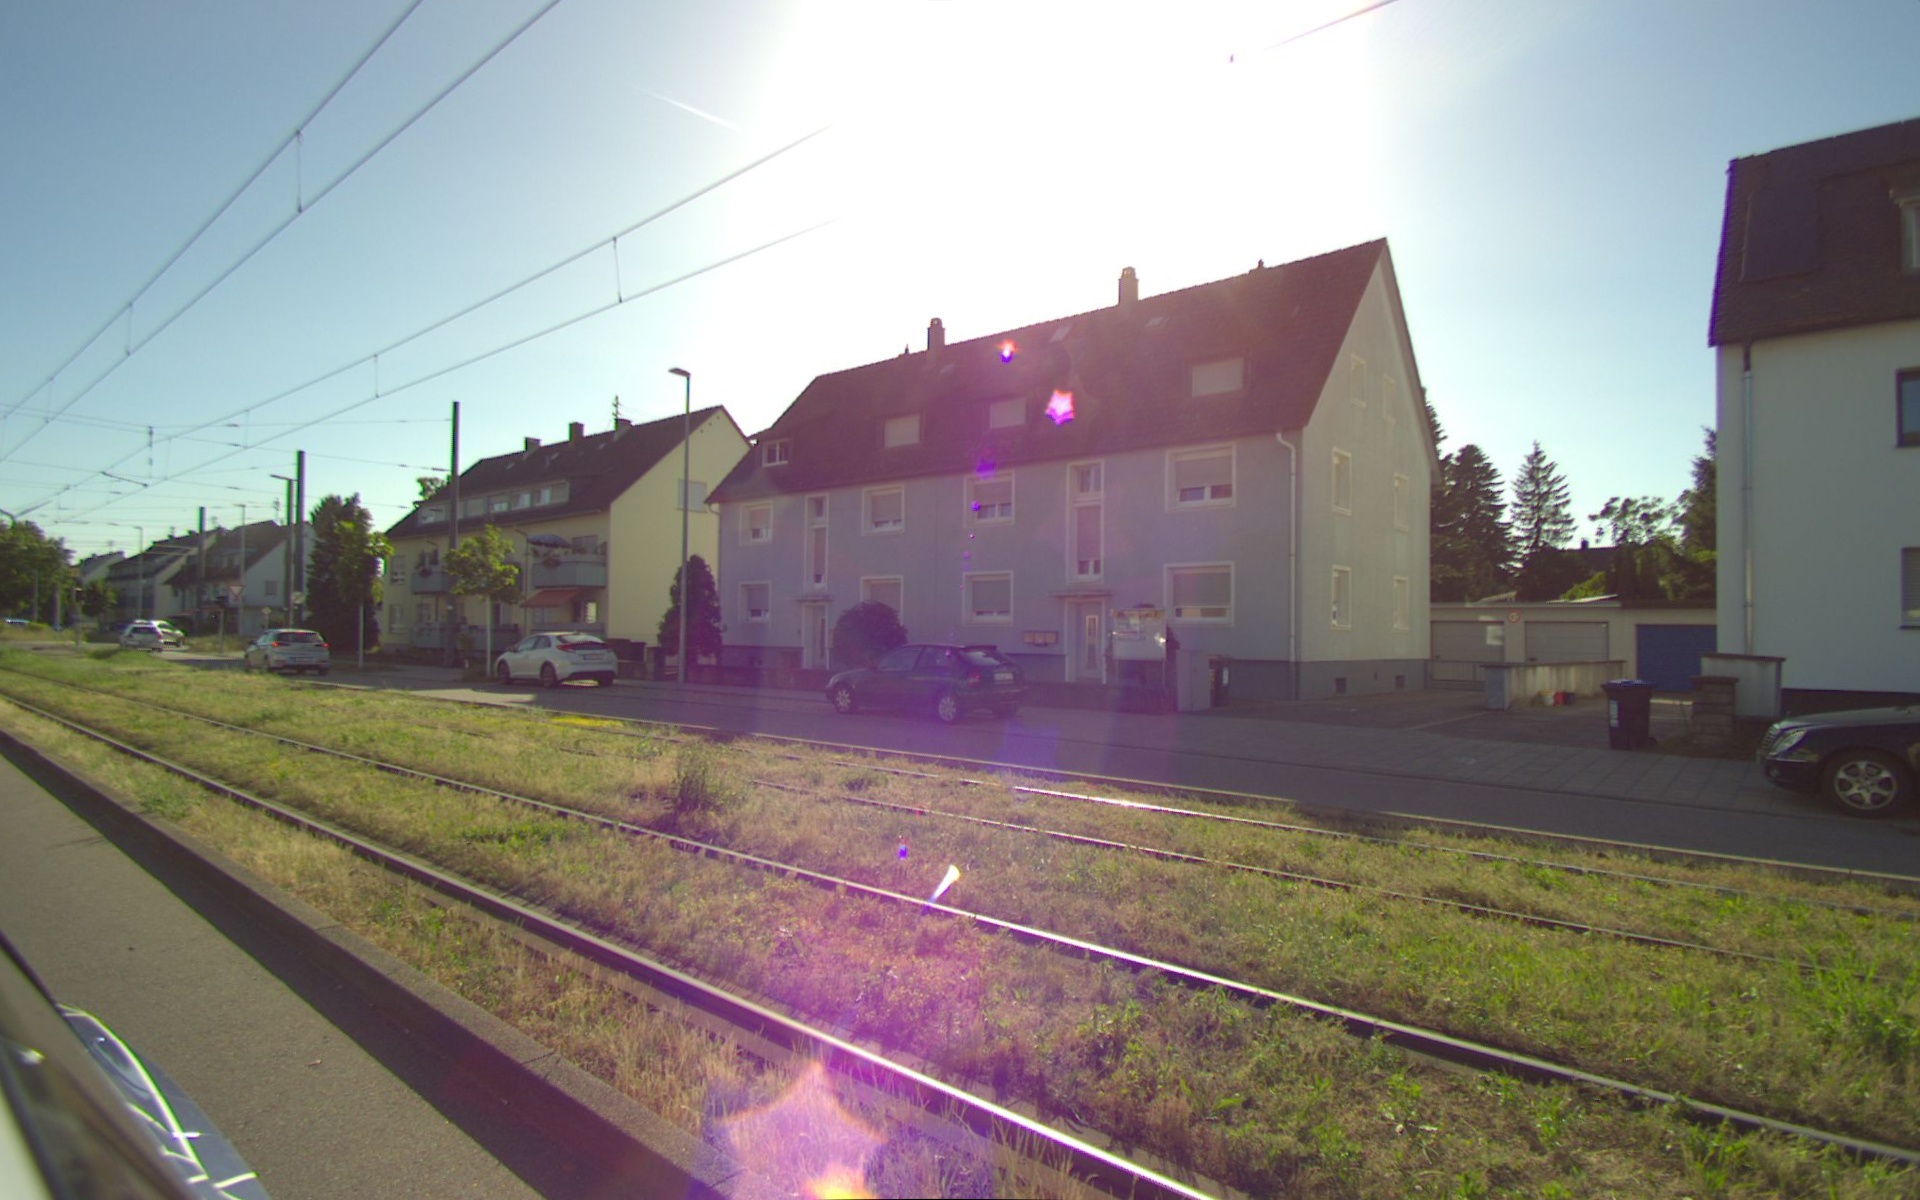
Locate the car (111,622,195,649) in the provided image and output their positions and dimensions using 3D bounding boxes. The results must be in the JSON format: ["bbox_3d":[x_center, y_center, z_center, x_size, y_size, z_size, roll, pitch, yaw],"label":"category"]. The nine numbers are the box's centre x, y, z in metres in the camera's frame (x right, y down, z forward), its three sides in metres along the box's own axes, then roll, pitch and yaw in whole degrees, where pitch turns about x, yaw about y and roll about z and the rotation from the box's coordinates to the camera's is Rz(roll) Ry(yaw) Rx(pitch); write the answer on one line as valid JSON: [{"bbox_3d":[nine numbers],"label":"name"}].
[{"bbox_3d":[-49.511,2.166,62.176,1.808,1.591,3.994,0,-2,4],"label":"car"}]

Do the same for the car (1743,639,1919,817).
[{"bbox_3d":[9.937,1.142,8.711,4.882,1.534,1.855,-1,-2,44],"label":"car"}]

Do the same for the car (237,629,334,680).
[{"bbox_3d":[-22.236,1.762,33.320,4.024,1.502,1.689,0,-2,43],"label":"car"}]

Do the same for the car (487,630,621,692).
[{"bbox_3d":[-10.993,1.591,27.295,4.213,1.529,1.674,-1,-3,42],"label":"car"}]

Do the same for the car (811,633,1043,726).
[{"bbox_3d":[-0.678,1.356,18.317,4.166,1.474,1.771,-1,-3,42],"label":"car"}]

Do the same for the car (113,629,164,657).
[{"bbox_3d":[-43.668,2.295,53.789,3.658,1.422,1.533,-1,-3,42],"label":"car"}]

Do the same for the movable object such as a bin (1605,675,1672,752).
[{"bbox_3d":[9.042,1.498,13.492,0.703,0.934,0.384,1,-2,40],"label":"movable object such as a bin"}]
